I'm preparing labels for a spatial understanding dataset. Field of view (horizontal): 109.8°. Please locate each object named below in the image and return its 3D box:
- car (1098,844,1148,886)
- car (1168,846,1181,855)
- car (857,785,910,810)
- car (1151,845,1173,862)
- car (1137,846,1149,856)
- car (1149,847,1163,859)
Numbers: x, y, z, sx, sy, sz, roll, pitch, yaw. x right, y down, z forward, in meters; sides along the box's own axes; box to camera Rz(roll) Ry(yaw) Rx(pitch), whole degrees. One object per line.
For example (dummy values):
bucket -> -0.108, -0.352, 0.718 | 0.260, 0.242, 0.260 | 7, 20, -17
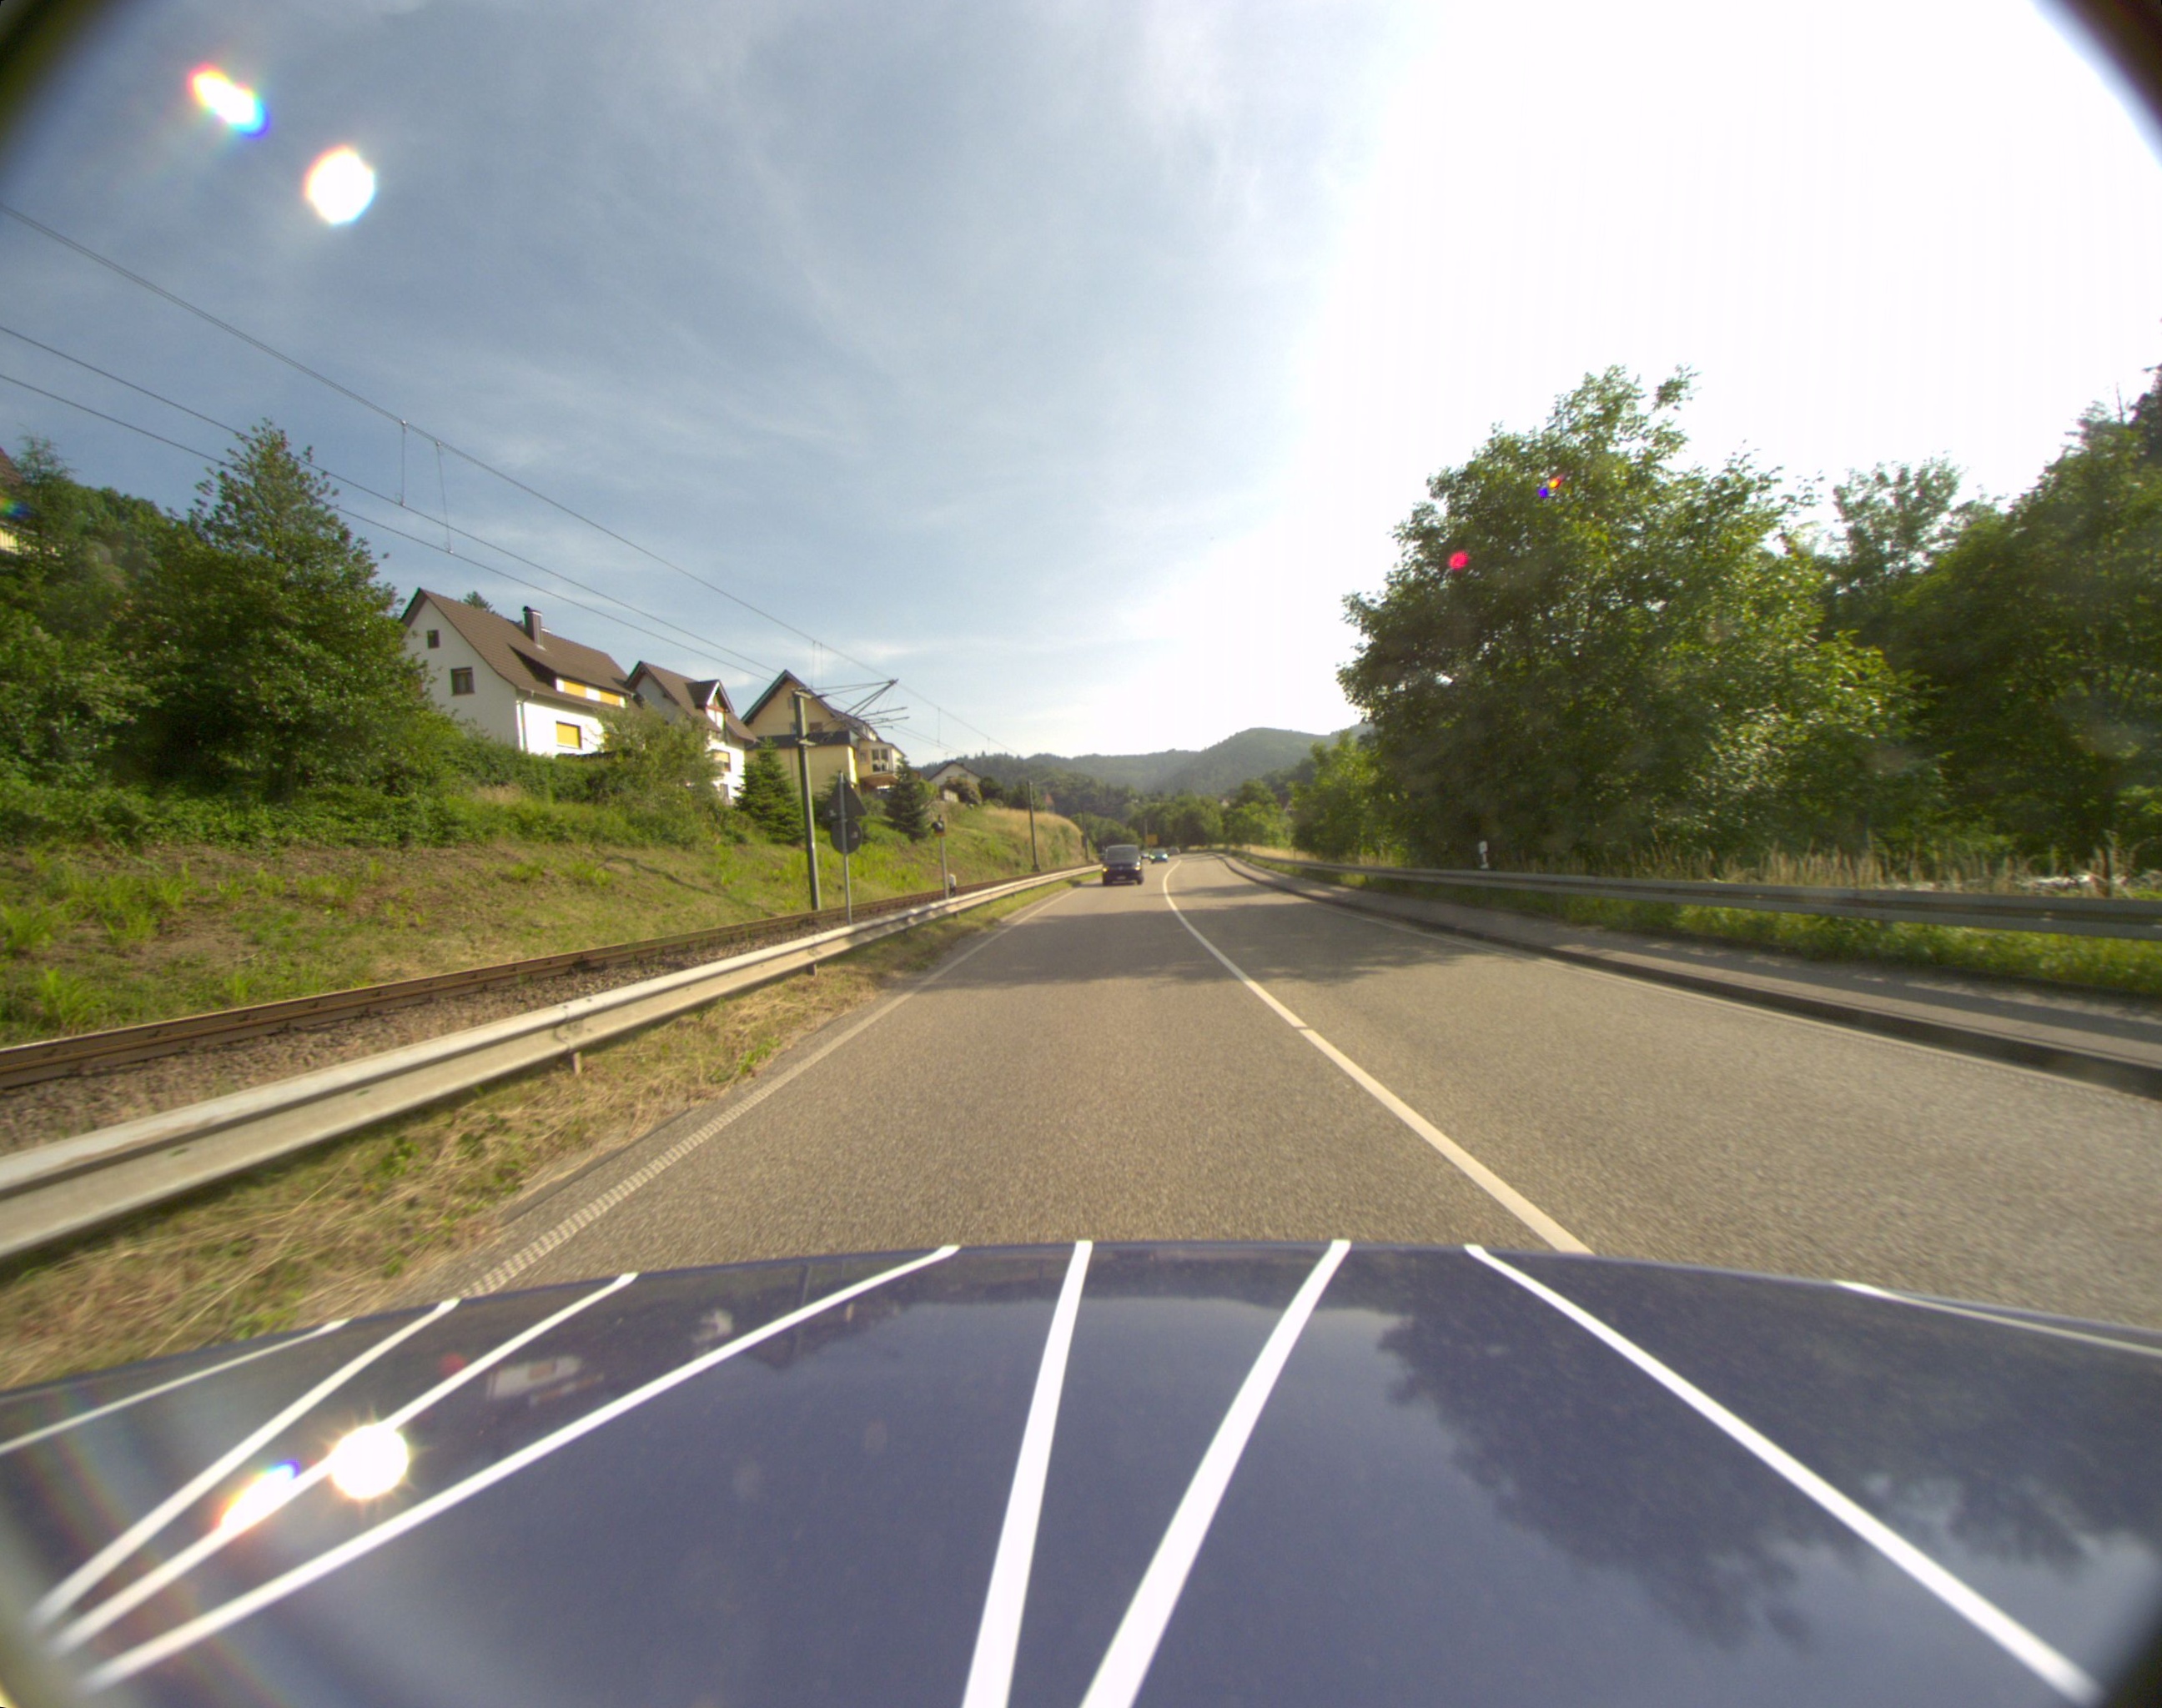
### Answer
car -> 2.168, 0.499, 37.679 | 2.017, 1.905, 4.314 | -2, 0, 9
car -> 16.137, -0.652, 131.086 | 1.582, 1.471, 3.999 | -2, 0, -2
car -> -16.208, -4.640, 62.432 | 3.749, 1.531, 1.752 | -7, 2, 1
car -> 9.013, -0.057, 84.481 | 1.883, 1.735, 4.182 | -2, 0, 13
car -> 10.956, -0.548, 134.488 | 1.885, 1.735, 4.178 | -2, 0, 0
car -> 11.477, -0.217, 116.613 | 1.885, 1.735, 4.179 | -2, 0, 2
